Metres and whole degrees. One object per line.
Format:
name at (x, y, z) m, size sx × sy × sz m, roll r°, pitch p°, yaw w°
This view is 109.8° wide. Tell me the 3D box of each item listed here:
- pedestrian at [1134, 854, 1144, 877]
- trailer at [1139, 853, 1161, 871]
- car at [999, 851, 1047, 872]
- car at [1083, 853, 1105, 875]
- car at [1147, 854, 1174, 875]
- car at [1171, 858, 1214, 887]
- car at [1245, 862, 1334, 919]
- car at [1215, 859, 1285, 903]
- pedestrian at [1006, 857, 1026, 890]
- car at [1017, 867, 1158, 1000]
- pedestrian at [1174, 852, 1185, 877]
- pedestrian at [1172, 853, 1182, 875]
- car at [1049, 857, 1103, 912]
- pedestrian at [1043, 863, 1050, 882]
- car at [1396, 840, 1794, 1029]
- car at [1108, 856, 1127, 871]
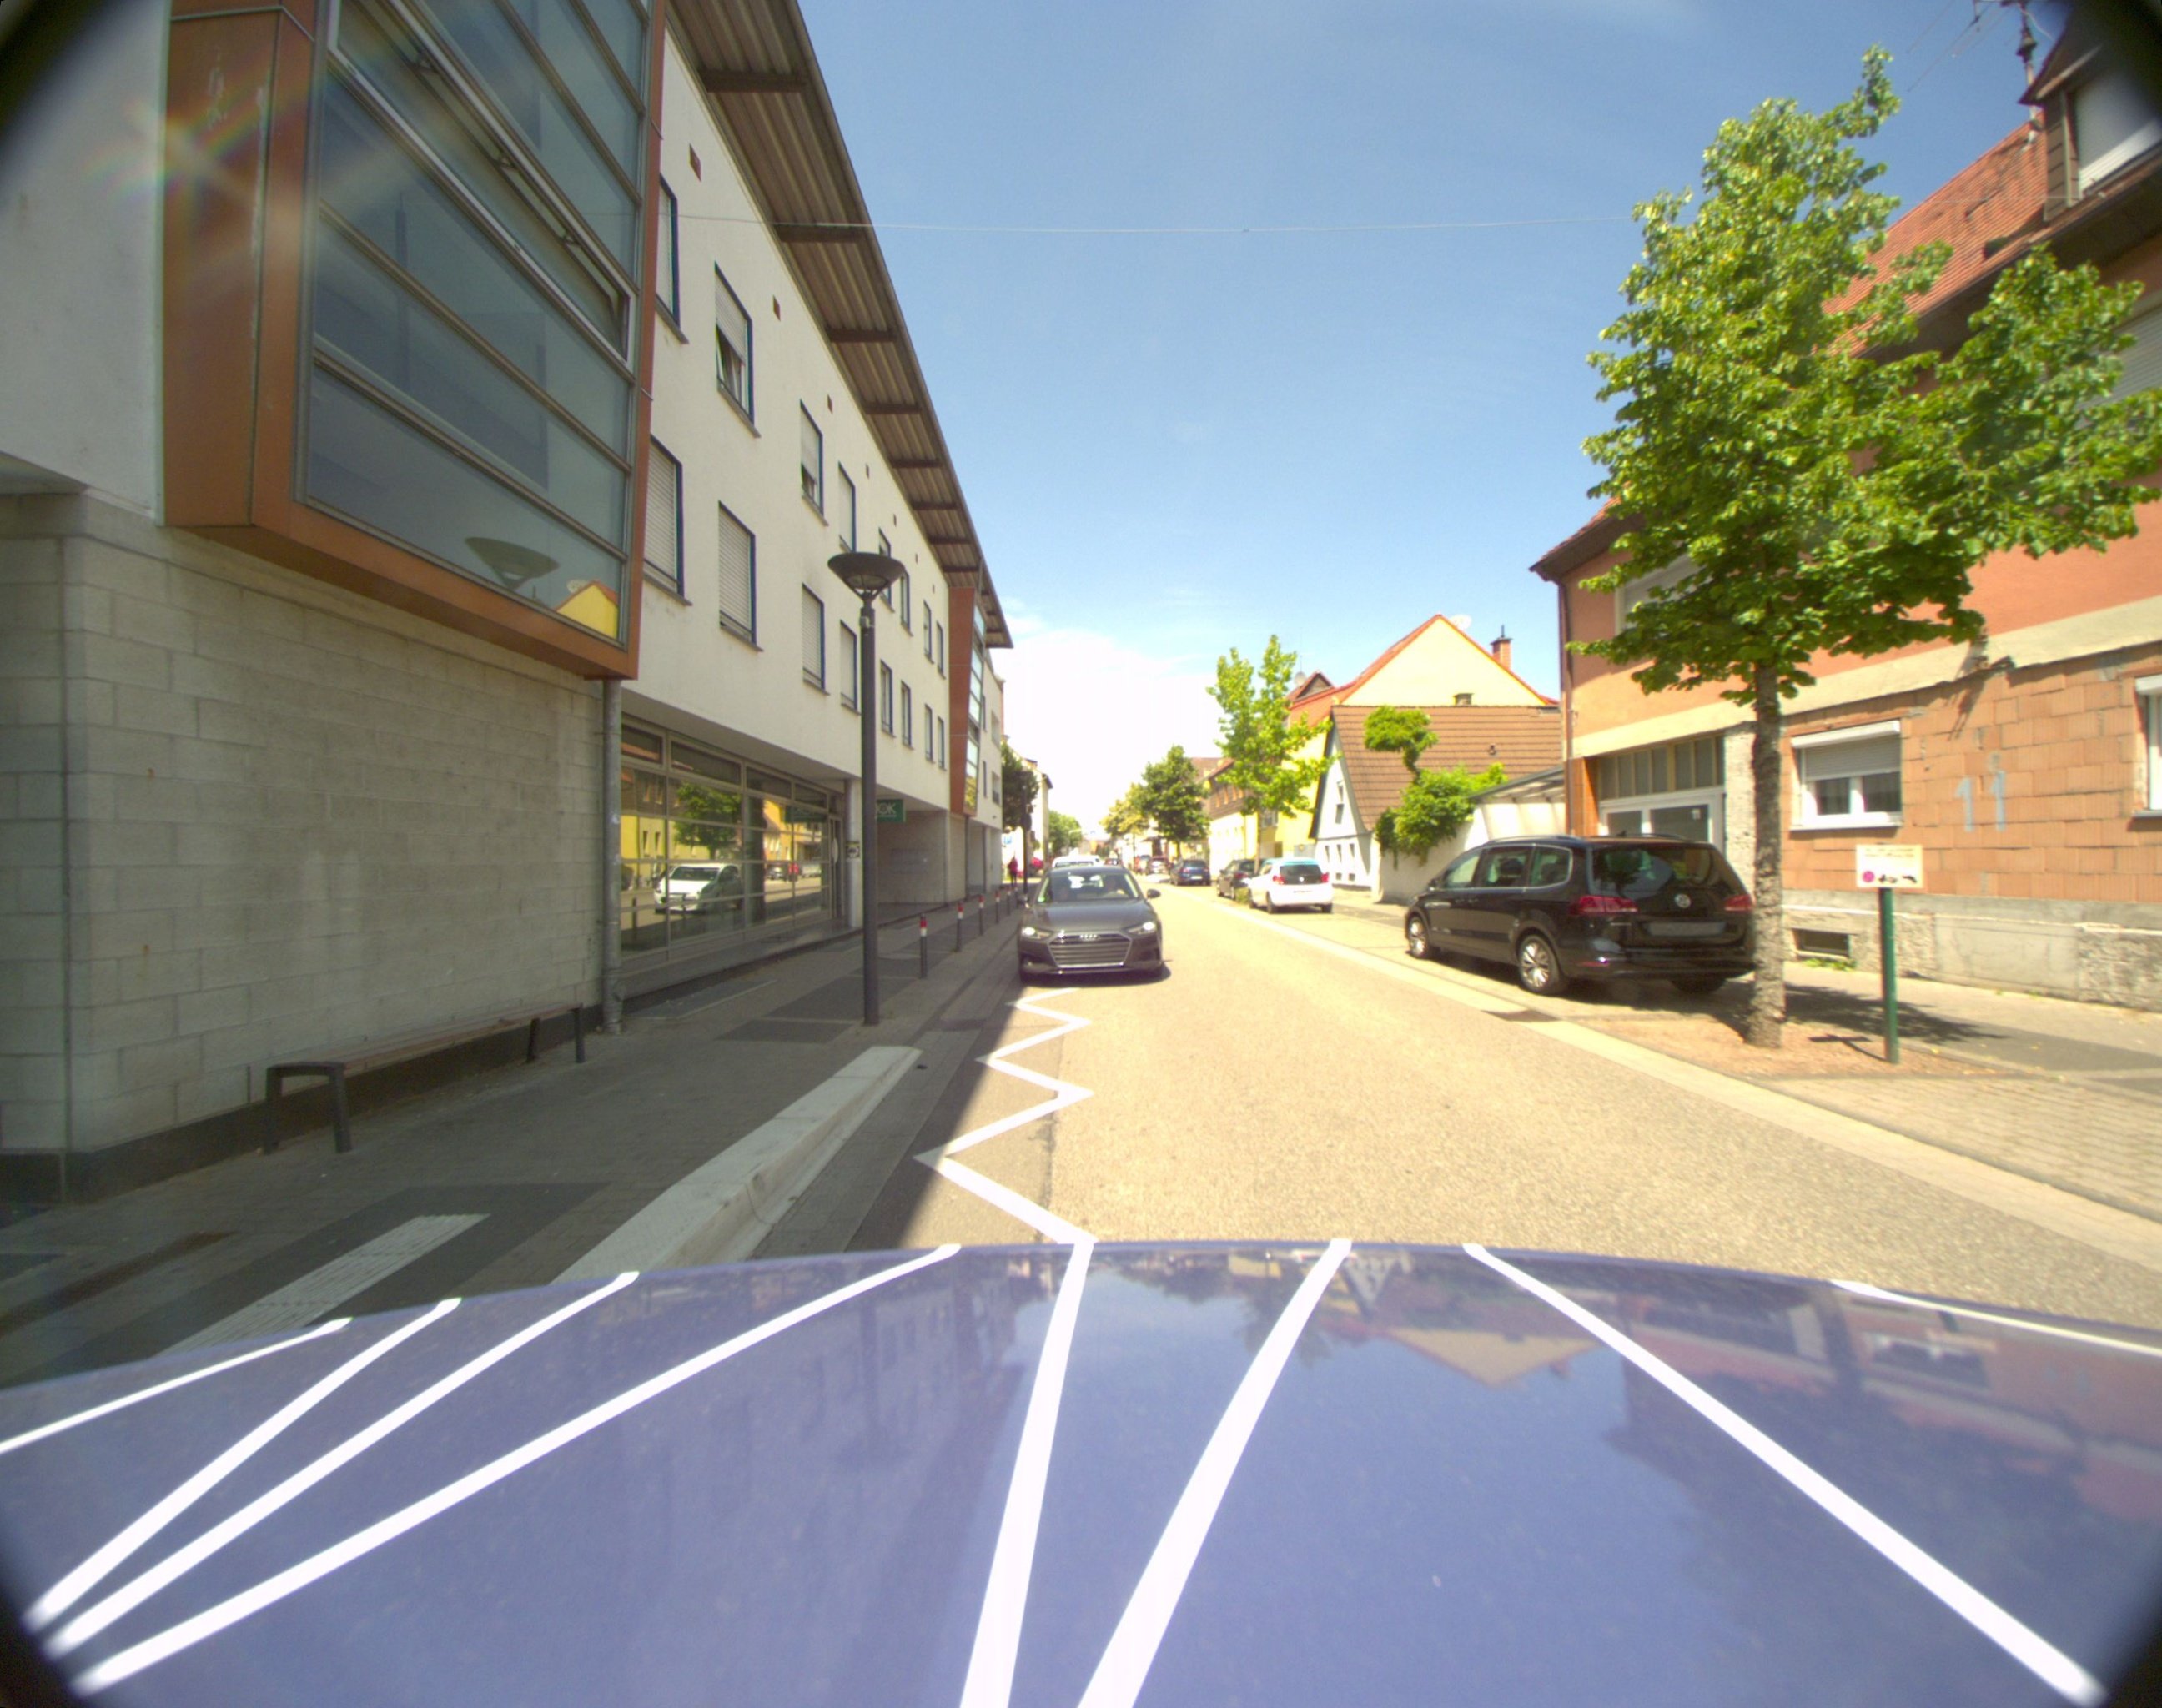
pedestrian at (4.274, 0.840, 56.076) m, size 0.643 × 1.645 × 0.624 m, roll 0°, pitch 0°, yaw 0°
trailer at (6.531, 0.775, 72.107) m, size 1.493 × 1.571 × 3.883 m, roll -4°, pitch 0°, yaw -2°
car at (-5.204, 0.670, 68.799) m, size 4.203 × 1.849 × 2.000 m, roll 0°, pitch 0°, yaw 0°
car at (0.986, 0.766, 58.321) m, size 1.581 × 1.620 × 4.065 m, roll 0°, pitch 0°, yaw 0°
car at (6.182, 0.820, 59.470) m, size 1.753 × 1.566 × 4.158 m, roll -1°, pitch 0°, yaw 1°
car at (5.824, 0.934, 40.051) m, size 1.660 × 1.399 × 4.158 m, roll -1°, pitch 0°, yaw 1°
car at (5.667, 0.941, 21.036) m, size 1.557 × 1.422 × 3.410 m, roll 0°, pitch 0°, yaw 1°
car at (5.957, 0.923, 27.259) m, size 1.649 × 1.422 × 4.099 m, roll 0°, pitch 0°, yaw 1°
pedestrian at (-3.187, 0.952, 37.378) m, size 0.825 × 1.579 × 0.919 m, roll 2°, pitch 0°, yaw 1°
car at (0.089, 0.949, 10.746) m, size 1.581 × 1.424 × 4.065 m, roll -2°, pitch 0°, yaw 0°
pedestrian at (6.259, 0.671, 48.235) m, size 0.631 × 1.592 × 0.528 m, roll -1°, pitch 0°, yaw 1°
pedestrian at (7.094, 0.719, 56.191) m, size 0.663 × 1.592 × 0.771 m, roll -1°, pitch 0°, yaw 1°
car at (-0.146, 0.908, 24.743) m, size 1.581 × 1.620 × 4.065 m, roll 0°, pitch 0°, yaw 0°
pedestrian at (-3.463, 1.881, 76.606) m, size 0.581 × 1.875 × 0.695 m, roll 0°, pitch 0°, yaw 3°
car at (5.669, 0.743, 9.247) m, size 1.780 × 1.716 × 4.519 m, roll -1°, pitch 0°, yaw 0°
car at (3.574, 0.929, 74.875) m, size 1.693 × 1.464 × 4.000 m, roll 1°, pitch 0°, yaw 0°
